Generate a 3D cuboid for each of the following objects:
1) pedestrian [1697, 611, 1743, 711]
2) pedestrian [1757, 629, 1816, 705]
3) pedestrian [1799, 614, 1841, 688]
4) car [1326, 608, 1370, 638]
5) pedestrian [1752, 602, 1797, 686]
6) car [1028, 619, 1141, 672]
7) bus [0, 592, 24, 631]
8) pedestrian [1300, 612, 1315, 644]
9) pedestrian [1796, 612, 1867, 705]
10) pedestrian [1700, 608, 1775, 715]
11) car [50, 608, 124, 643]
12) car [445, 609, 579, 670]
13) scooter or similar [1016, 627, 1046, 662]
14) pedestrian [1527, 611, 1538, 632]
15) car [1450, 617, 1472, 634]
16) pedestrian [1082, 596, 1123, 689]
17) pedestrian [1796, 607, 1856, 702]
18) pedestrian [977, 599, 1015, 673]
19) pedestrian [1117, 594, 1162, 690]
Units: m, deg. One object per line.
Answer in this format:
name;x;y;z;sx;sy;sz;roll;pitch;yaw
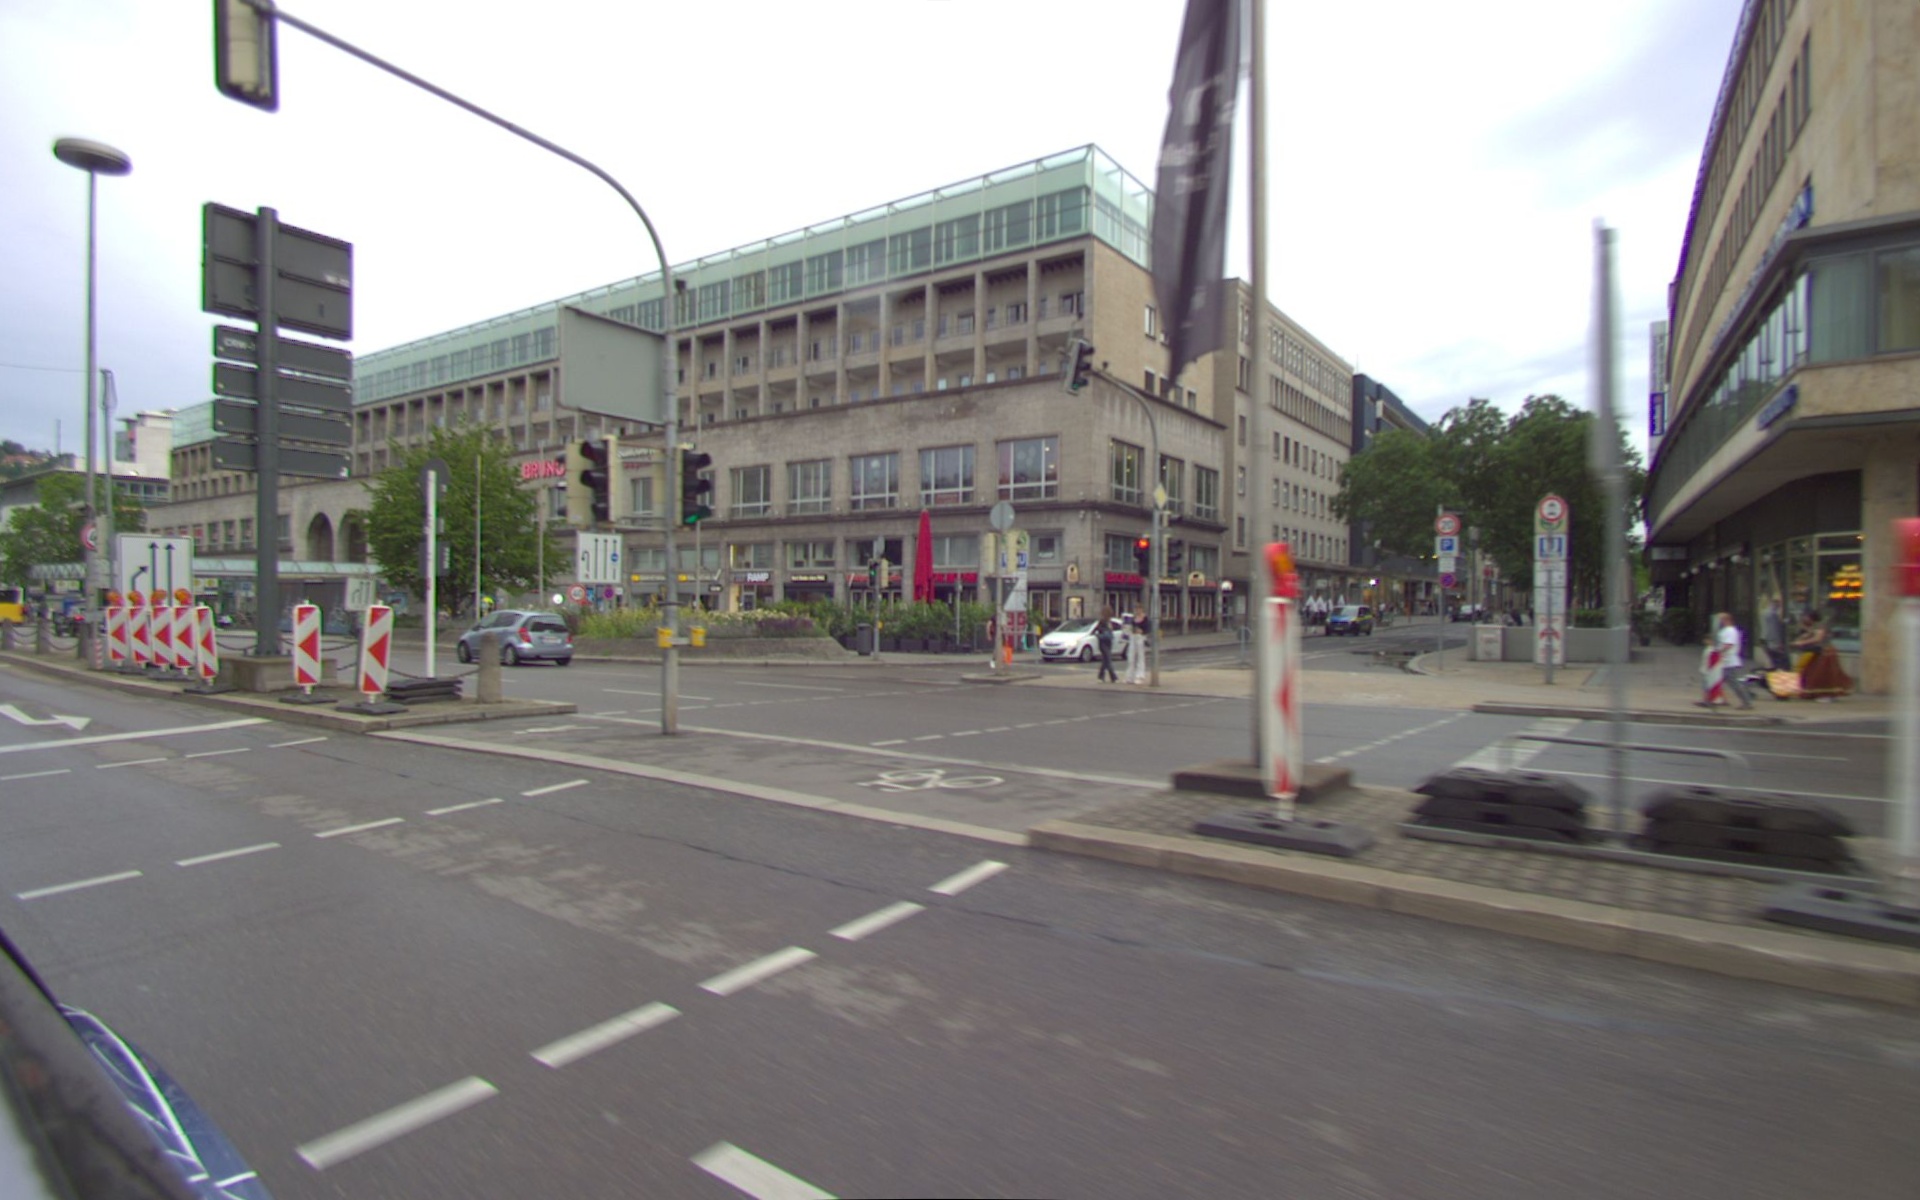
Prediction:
pedestrian;12.774;1.009;17.011;0.524;1.630;0.447;-1;1;25
pedestrian;14.599;1.166;17.890;0.751;1.302;0.558;-1;-2;35
pedestrian;19.247;1.121;22.641;0.683;1.621;0.617;-1;-2;42
car;23.455;1.370;61.163;1.791;1.741;4.040;-1;-1;31
pedestrian;18.785;1.002;23.340;0.772;1.889;0.707;-1;-2;42
car;4.217;1.462;33.751;1.805;1.652;4.038;-1;-2;41
bus;-76.618;0.920;79.084;9.797;2.963;2.877;0;-2;34
pedestrian;21.989;1.781;64.083;0.704;2.029;0.797;-1;-2;35
pedestrian;15.280;1.013;17.761;0.674;1.604;0.664;0;-2;11
pedestrian;12.506;0.962;16.303;0.785;1.630;0.832;-1;2;26
car;-44.356;1.299;51.415;3.990;1.697;1.865;-1;-2;35
car;-12.906;1.104;29.092;3.992;1.634;1.738;-1;-2;36
scooter or similar;2.599;1.614;36.932;1.039;1.253;0.424;0;-2;12
pedestrian;37.588;1.415;66.453;0.564;1.308;0.617;-1;2;33
car;48.985;2.524;98.935;1.626;1.618;3.586;-1;-1;31
pedestrian;3.026;0.893;21.512;0.705;1.939;0.593;0;-1;-12
pedestrian;15.658;0.965;18.313;0.751;1.681;0.558;-1;-2;35
pedestrian;1.000;0.992;28.367;0.806;2.029;0.697;-1;-2;37
pedestrian;3.734;0.862;21.062;0.750;1.939;0.584;-1;-2;36
